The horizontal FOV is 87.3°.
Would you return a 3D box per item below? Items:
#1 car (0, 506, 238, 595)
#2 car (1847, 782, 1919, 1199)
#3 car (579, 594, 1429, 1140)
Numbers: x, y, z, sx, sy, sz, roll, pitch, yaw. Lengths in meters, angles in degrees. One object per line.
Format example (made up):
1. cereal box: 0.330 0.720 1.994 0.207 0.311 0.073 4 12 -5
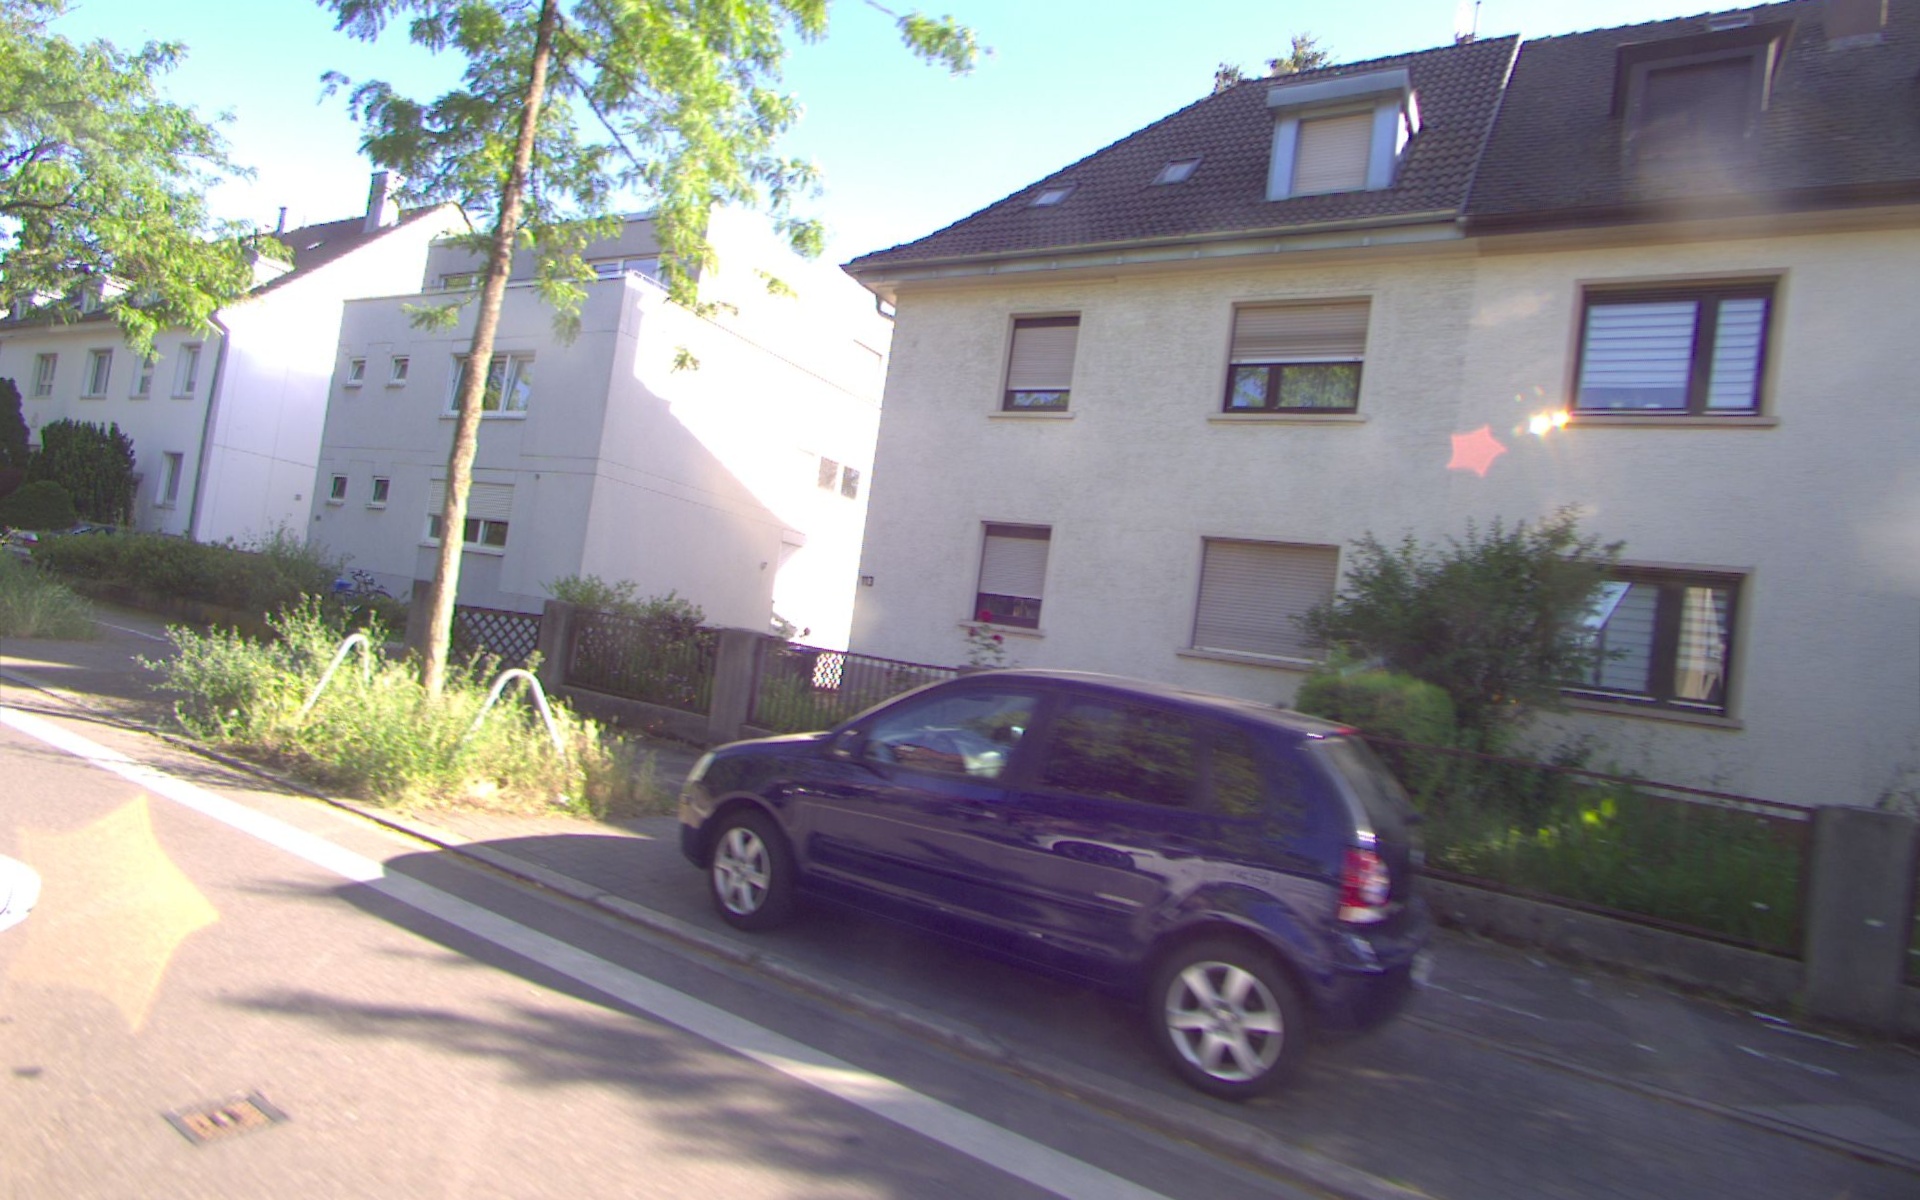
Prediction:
1. car: -19.948 -1.118 23.872 1.846 1.357 4.062 7 -3 30
2. car: 5.124 1.620 2.209 4.368 1.512 1.752 7 -2 31
3. car: 0.128 1.006 5.242 3.929 1.512 1.752 7 -2 31
